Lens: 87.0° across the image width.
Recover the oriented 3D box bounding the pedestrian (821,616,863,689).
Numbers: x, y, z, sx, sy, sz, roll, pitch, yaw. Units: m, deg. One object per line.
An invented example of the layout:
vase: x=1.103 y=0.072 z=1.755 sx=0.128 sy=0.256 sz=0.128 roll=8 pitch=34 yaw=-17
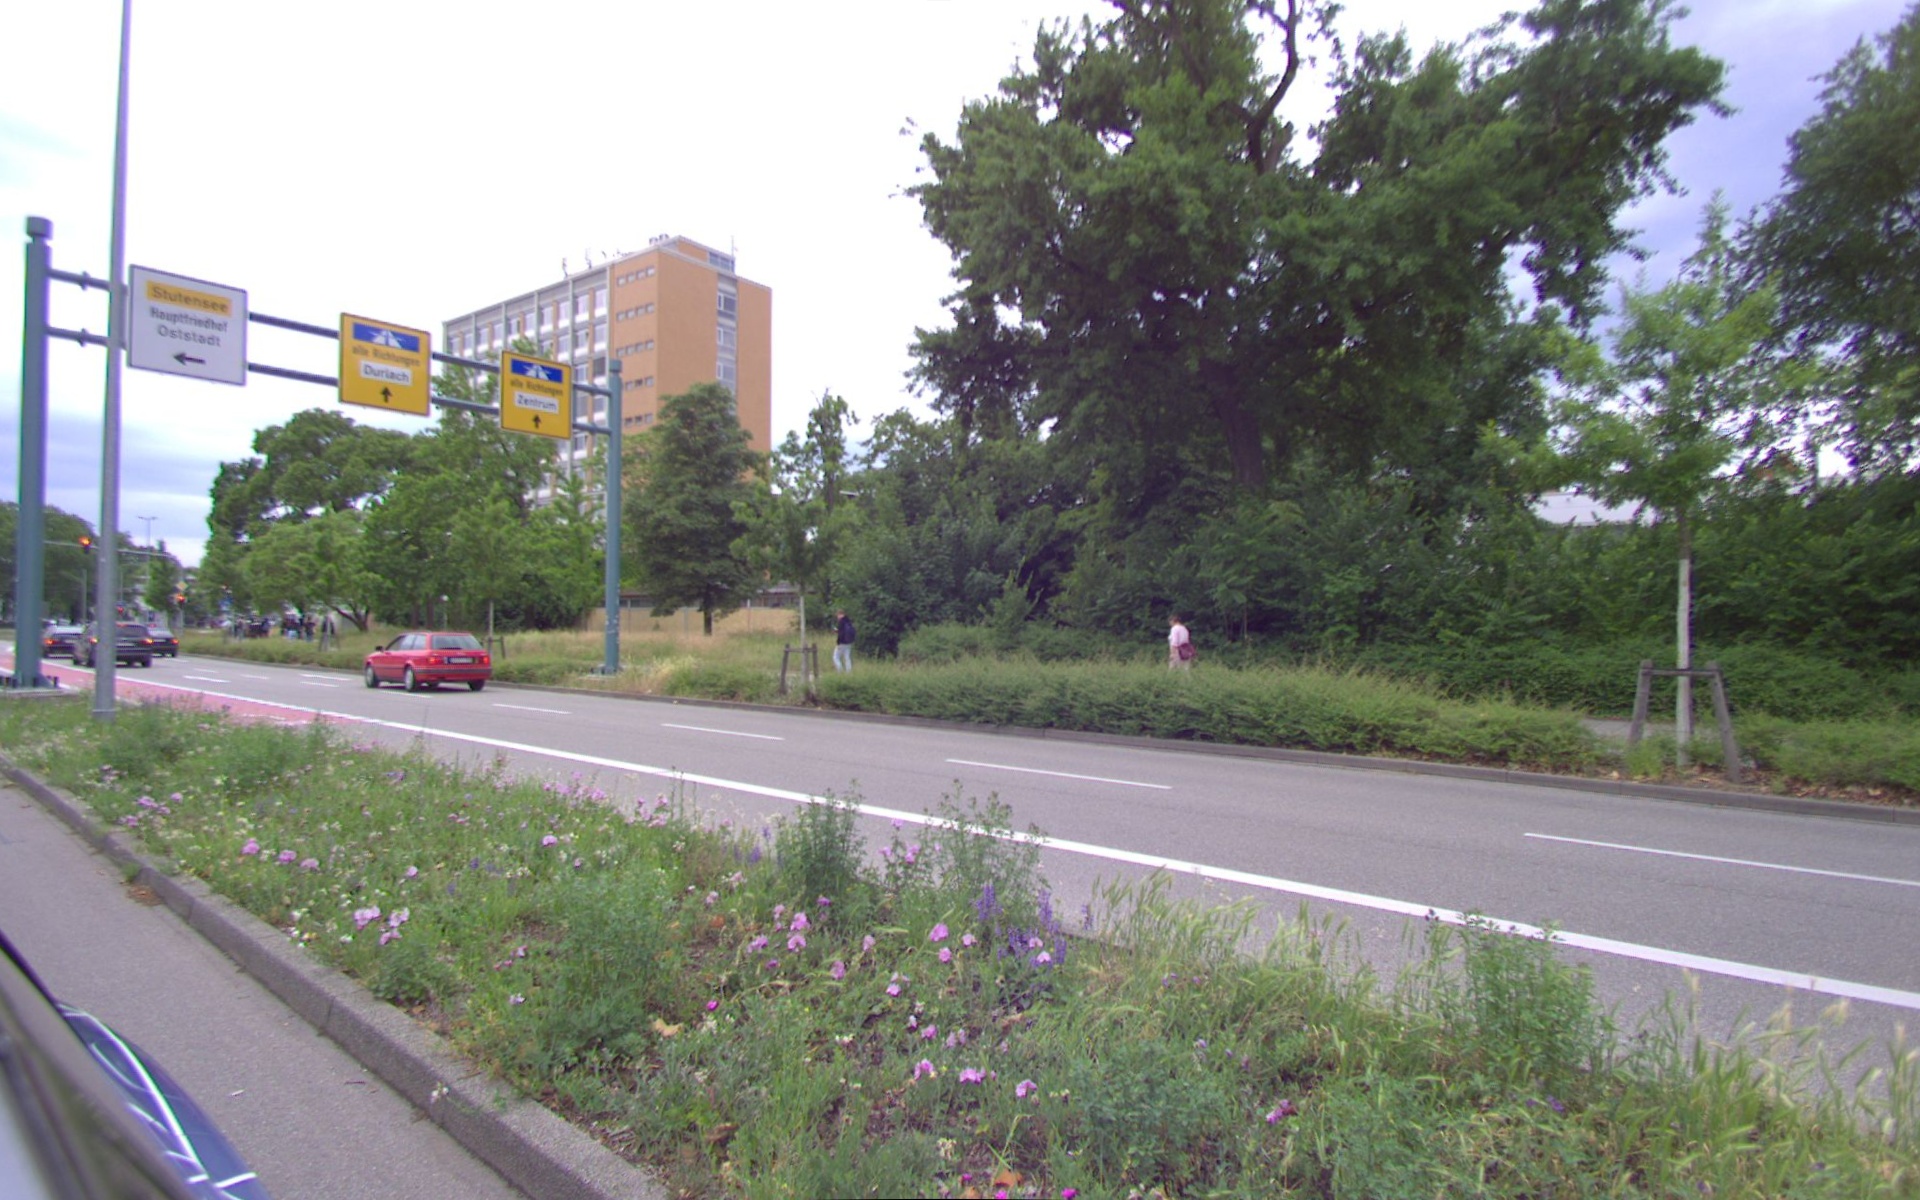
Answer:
pedestrian: x=-2.877 y=1.269 z=24.730 sx=0.818 sy=1.742 sz=0.613 roll=-2 pitch=-4 yaw=41

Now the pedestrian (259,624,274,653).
pedestrian: x=-40.093 y=2.223 z=58.529 sx=0.652 sy=1.644 sz=0.765 roll=3 pitch=-4 yaw=-34

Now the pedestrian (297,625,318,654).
pedestrian: x=-31.529 y=1.900 z=48.920 sx=0.711 sy=1.368 sz=0.638 roll=-2 pitch=-4 yaw=40

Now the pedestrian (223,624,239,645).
pedestrian: x=-50.802 y=2.407 z=70.492 sx=0.813 sy=1.491 sz=0.720 roll=-2 pitch=-4 yaw=44

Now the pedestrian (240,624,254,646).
pedestrian: x=-50.076 y=2.455 z=71.080 sx=0.762 sy=1.491 sz=0.628 roll=-2 pitch=-4 yaw=44

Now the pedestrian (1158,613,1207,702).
pedestrian: x=4.225 y=1.083 z=19.184 sx=0.671 sy=1.648 sz=0.693 roll=-2 pitch=-4 yaw=41

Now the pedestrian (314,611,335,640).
pedestrian: x=-31.118 y=1.244 z=49.551 sx=0.680 sy=1.373 sz=0.638 roll=-2 pitch=-4 yaw=39

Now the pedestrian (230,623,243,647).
pedestrian: x=-56.366 y=2.726 z=78.847 sx=0.762 sy=1.815 sz=0.630 roll=-2 pitch=-3 yaw=44

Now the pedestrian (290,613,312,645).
pedestrian: x=-35.367 y=1.573 z=54.303 sx=0.766 sy=1.685 sz=0.700 roll=-1 pitch=-4 yaw=35

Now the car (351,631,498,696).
car: x=-13.066 y=1.490 z=24.596 sx=4.292 sy=1.429 sz=1.696 roll=-2 pitch=-3 yaw=41

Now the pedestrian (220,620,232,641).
pedestrian: x=-60.046 y=2.531 z=82.801 sx=0.890 sy=1.683 sz=0.698 roll=-2 pitch=-1 yaw=45

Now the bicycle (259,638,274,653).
bicycle: x=-40.097 y=2.626 z=58.508 sx=0.652 sy=0.894 sz=1.719 roll=3 pitch=-3 yaw=-34

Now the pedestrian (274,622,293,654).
pedestrian: x=-35.832 y=2.004 z=53.618 sx=0.719 sy=1.673 sz=0.580 roll=-1 pitch=-4 yaw=35

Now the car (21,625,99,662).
car: x=-39.477 y=1.886 z=44.357 sx=4.786 sy=1.471 sz=1.746 roll=-1 pitch=-4 yaw=39

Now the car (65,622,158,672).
car: x=-30.855 y=1.680 z=36.751 sx=4.397 sy=1.677 sz=1.900 roll=-1 pitch=-3 yaw=41

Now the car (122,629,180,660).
car: x=-37.928 y=2.089 z=47.411 sx=3.809 sy=1.391 sz=1.589 roll=-2 pitch=-4 yaw=44

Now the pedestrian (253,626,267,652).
pedestrian: x=-45.408 y=2.533 z=65.669 sx=0.570 sy=1.725 sz=0.764 roll=2 pitch=-3 yaw=-27

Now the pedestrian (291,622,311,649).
pedestrian: x=-40.203 y=2.181 z=61.735 sx=0.823 sy=1.625 sz=0.631 roll=-2 pitch=-1 yaw=19

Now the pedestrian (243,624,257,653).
pedestrian: x=-40.816 y=2.221 z=58.203 sx=0.567 sy=1.621 sz=0.618 roll=3 pitch=-4 yaw=-33
